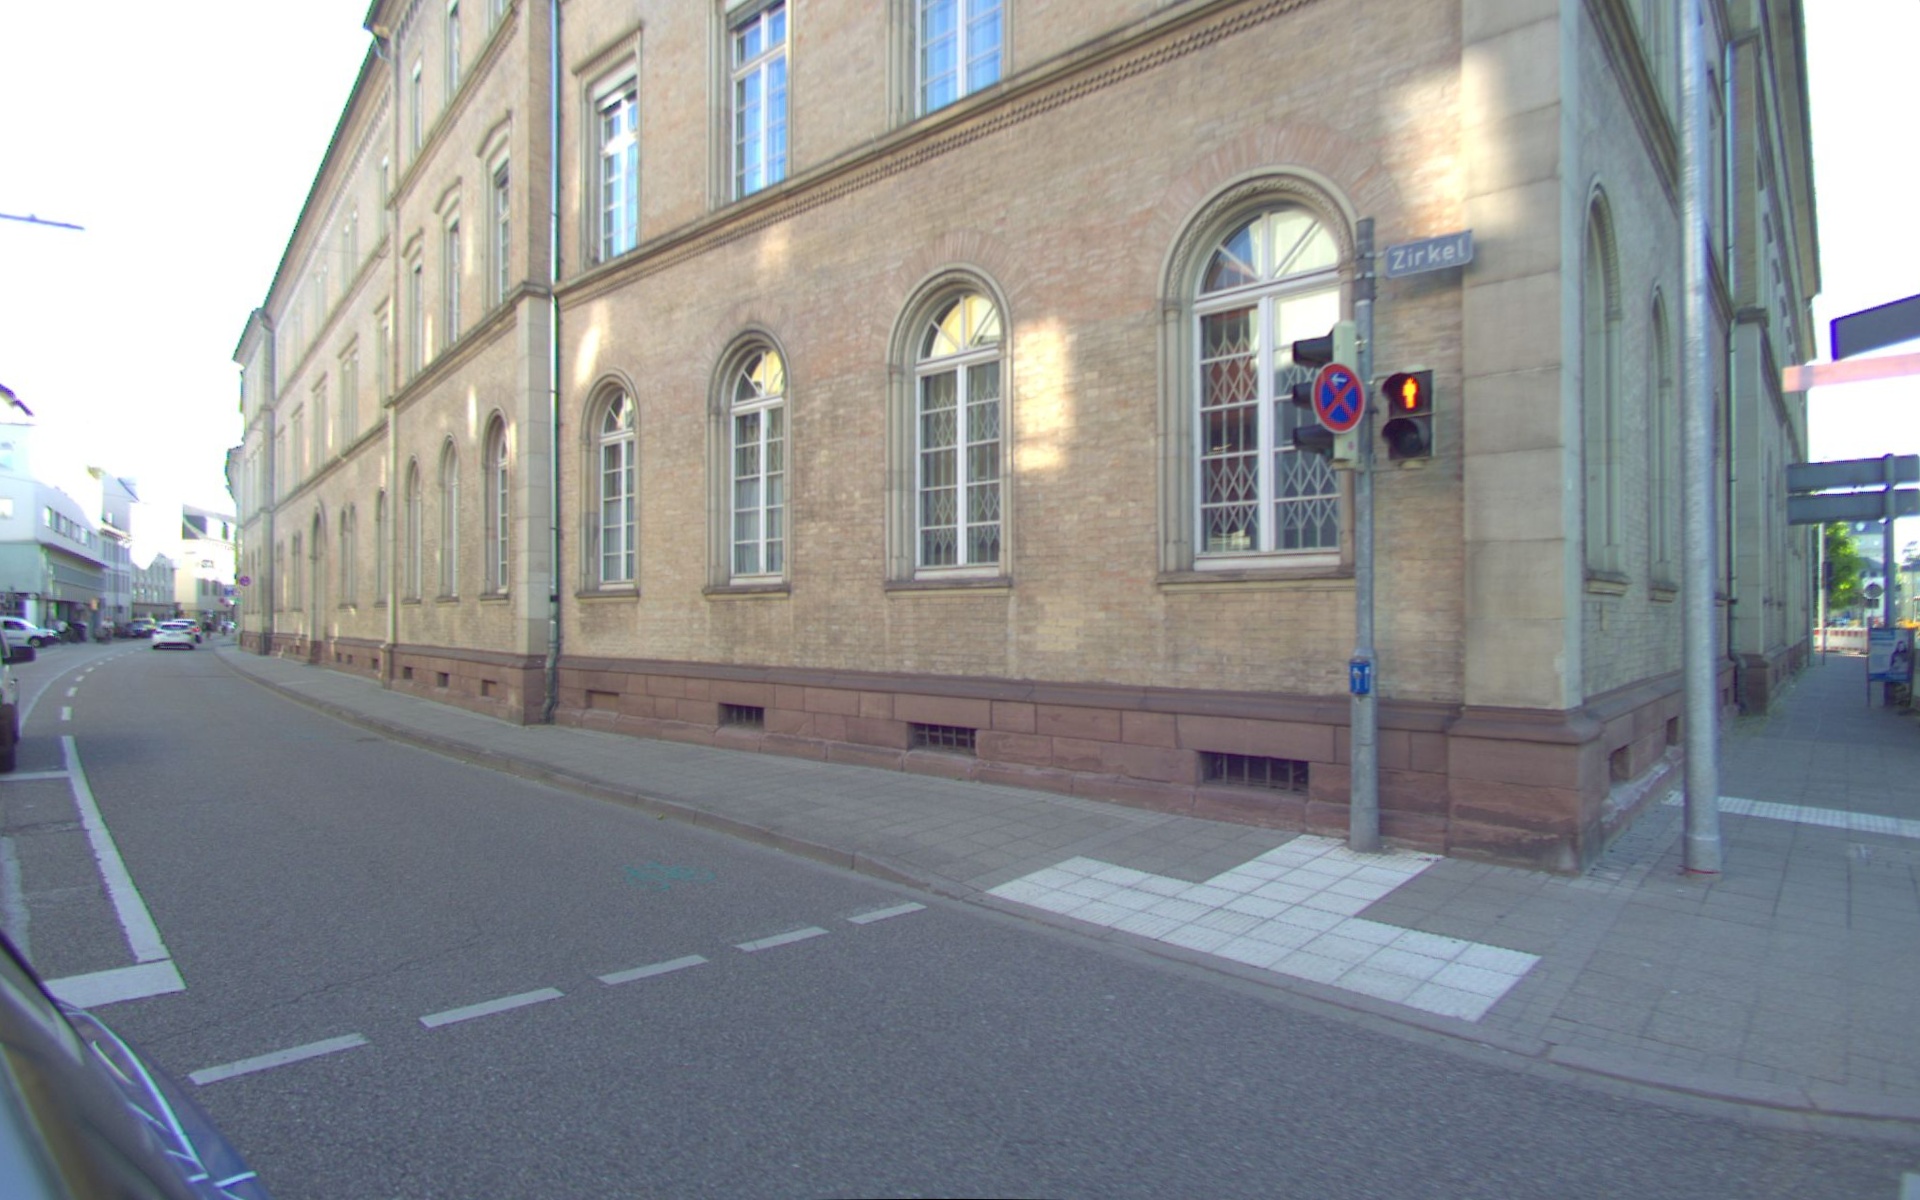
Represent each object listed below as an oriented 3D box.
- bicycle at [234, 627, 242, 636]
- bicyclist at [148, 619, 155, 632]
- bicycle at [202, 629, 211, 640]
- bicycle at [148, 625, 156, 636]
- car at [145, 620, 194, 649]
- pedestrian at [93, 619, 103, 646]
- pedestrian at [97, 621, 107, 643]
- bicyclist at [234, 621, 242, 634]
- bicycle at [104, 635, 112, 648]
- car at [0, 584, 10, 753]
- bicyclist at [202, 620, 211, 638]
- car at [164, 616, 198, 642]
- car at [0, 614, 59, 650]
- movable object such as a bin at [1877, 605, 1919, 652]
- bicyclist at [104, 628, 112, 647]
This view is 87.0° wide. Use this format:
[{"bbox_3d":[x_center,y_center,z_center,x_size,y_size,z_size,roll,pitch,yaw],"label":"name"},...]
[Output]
[{"bbox_3d":[-84.121,3.695,117.946,0.641,1.014,1.880,3,-3,-34],"label":"bicycle"},{"bbox_3d":[-77.245,2.474,96.707,0.540,1.220,0.585,0,-1,-37],"label":"bicyclist"},{"bbox_3d":[-63.929,2.937,85.864,0.600,0.935,2.269,1,-1,-38],"label":"bicycle"},{"bbox_3d":[-77.263,2.920,96.728,0.540,1.091,1.968,0,-1,-37],"label":"bicycle"},{"bbox_3d":[-42.801,1.872,54.862,1.862,1.487,4.555,3,-3,-36],"label":"car"},{"bbox_3d":[-58.193,2.176,68.298,0.501,1.775,0.412,1,-1,-38],"label":"pedestrian"},{"bbox_3d":[-59.857,2.221,70.627,0.501,1.572,0.412,0,-1,-38],"label":"pedestrian"},{"bbox_3d":[-84.174,3.176,118.051,0.641,1.520,1.114,3,-3,-33],"label":"bicyclist"},{"bbox_3d":[-52.033,2.538,61.795,0.343,0.729,1.119,1,-2,-43],"label":"bicycle"},{"bbox_3d":[-11.331,0.760,10.659,1.792,1.850,5.347,1,-1,-42],"label":"car"},{"bbox_3d":[-64.002,2.452,85.948,0.595,1.454,0.579,1,-2,-39],"label":"bicyclist"},{"bbox_3d":[-50.463,1.880,65.621,1.663,1.595,4.284,3,-3,-37],"label":"car"},{"bbox_3d":[-53.977,1.791,56.910,4.689,1.953,2.005,0,-1,-34],"label":"car"},{"bbox_3d":[46.262,1.319,47.752,1.910,2.208,4.008,0,-2,-10],"label":"movable object such as a bin"},{"bbox_3d":[-52.038,2.280,61.804,0.343,1.116,0.368,1,-2,-43],"label":"bicyclist"}]
